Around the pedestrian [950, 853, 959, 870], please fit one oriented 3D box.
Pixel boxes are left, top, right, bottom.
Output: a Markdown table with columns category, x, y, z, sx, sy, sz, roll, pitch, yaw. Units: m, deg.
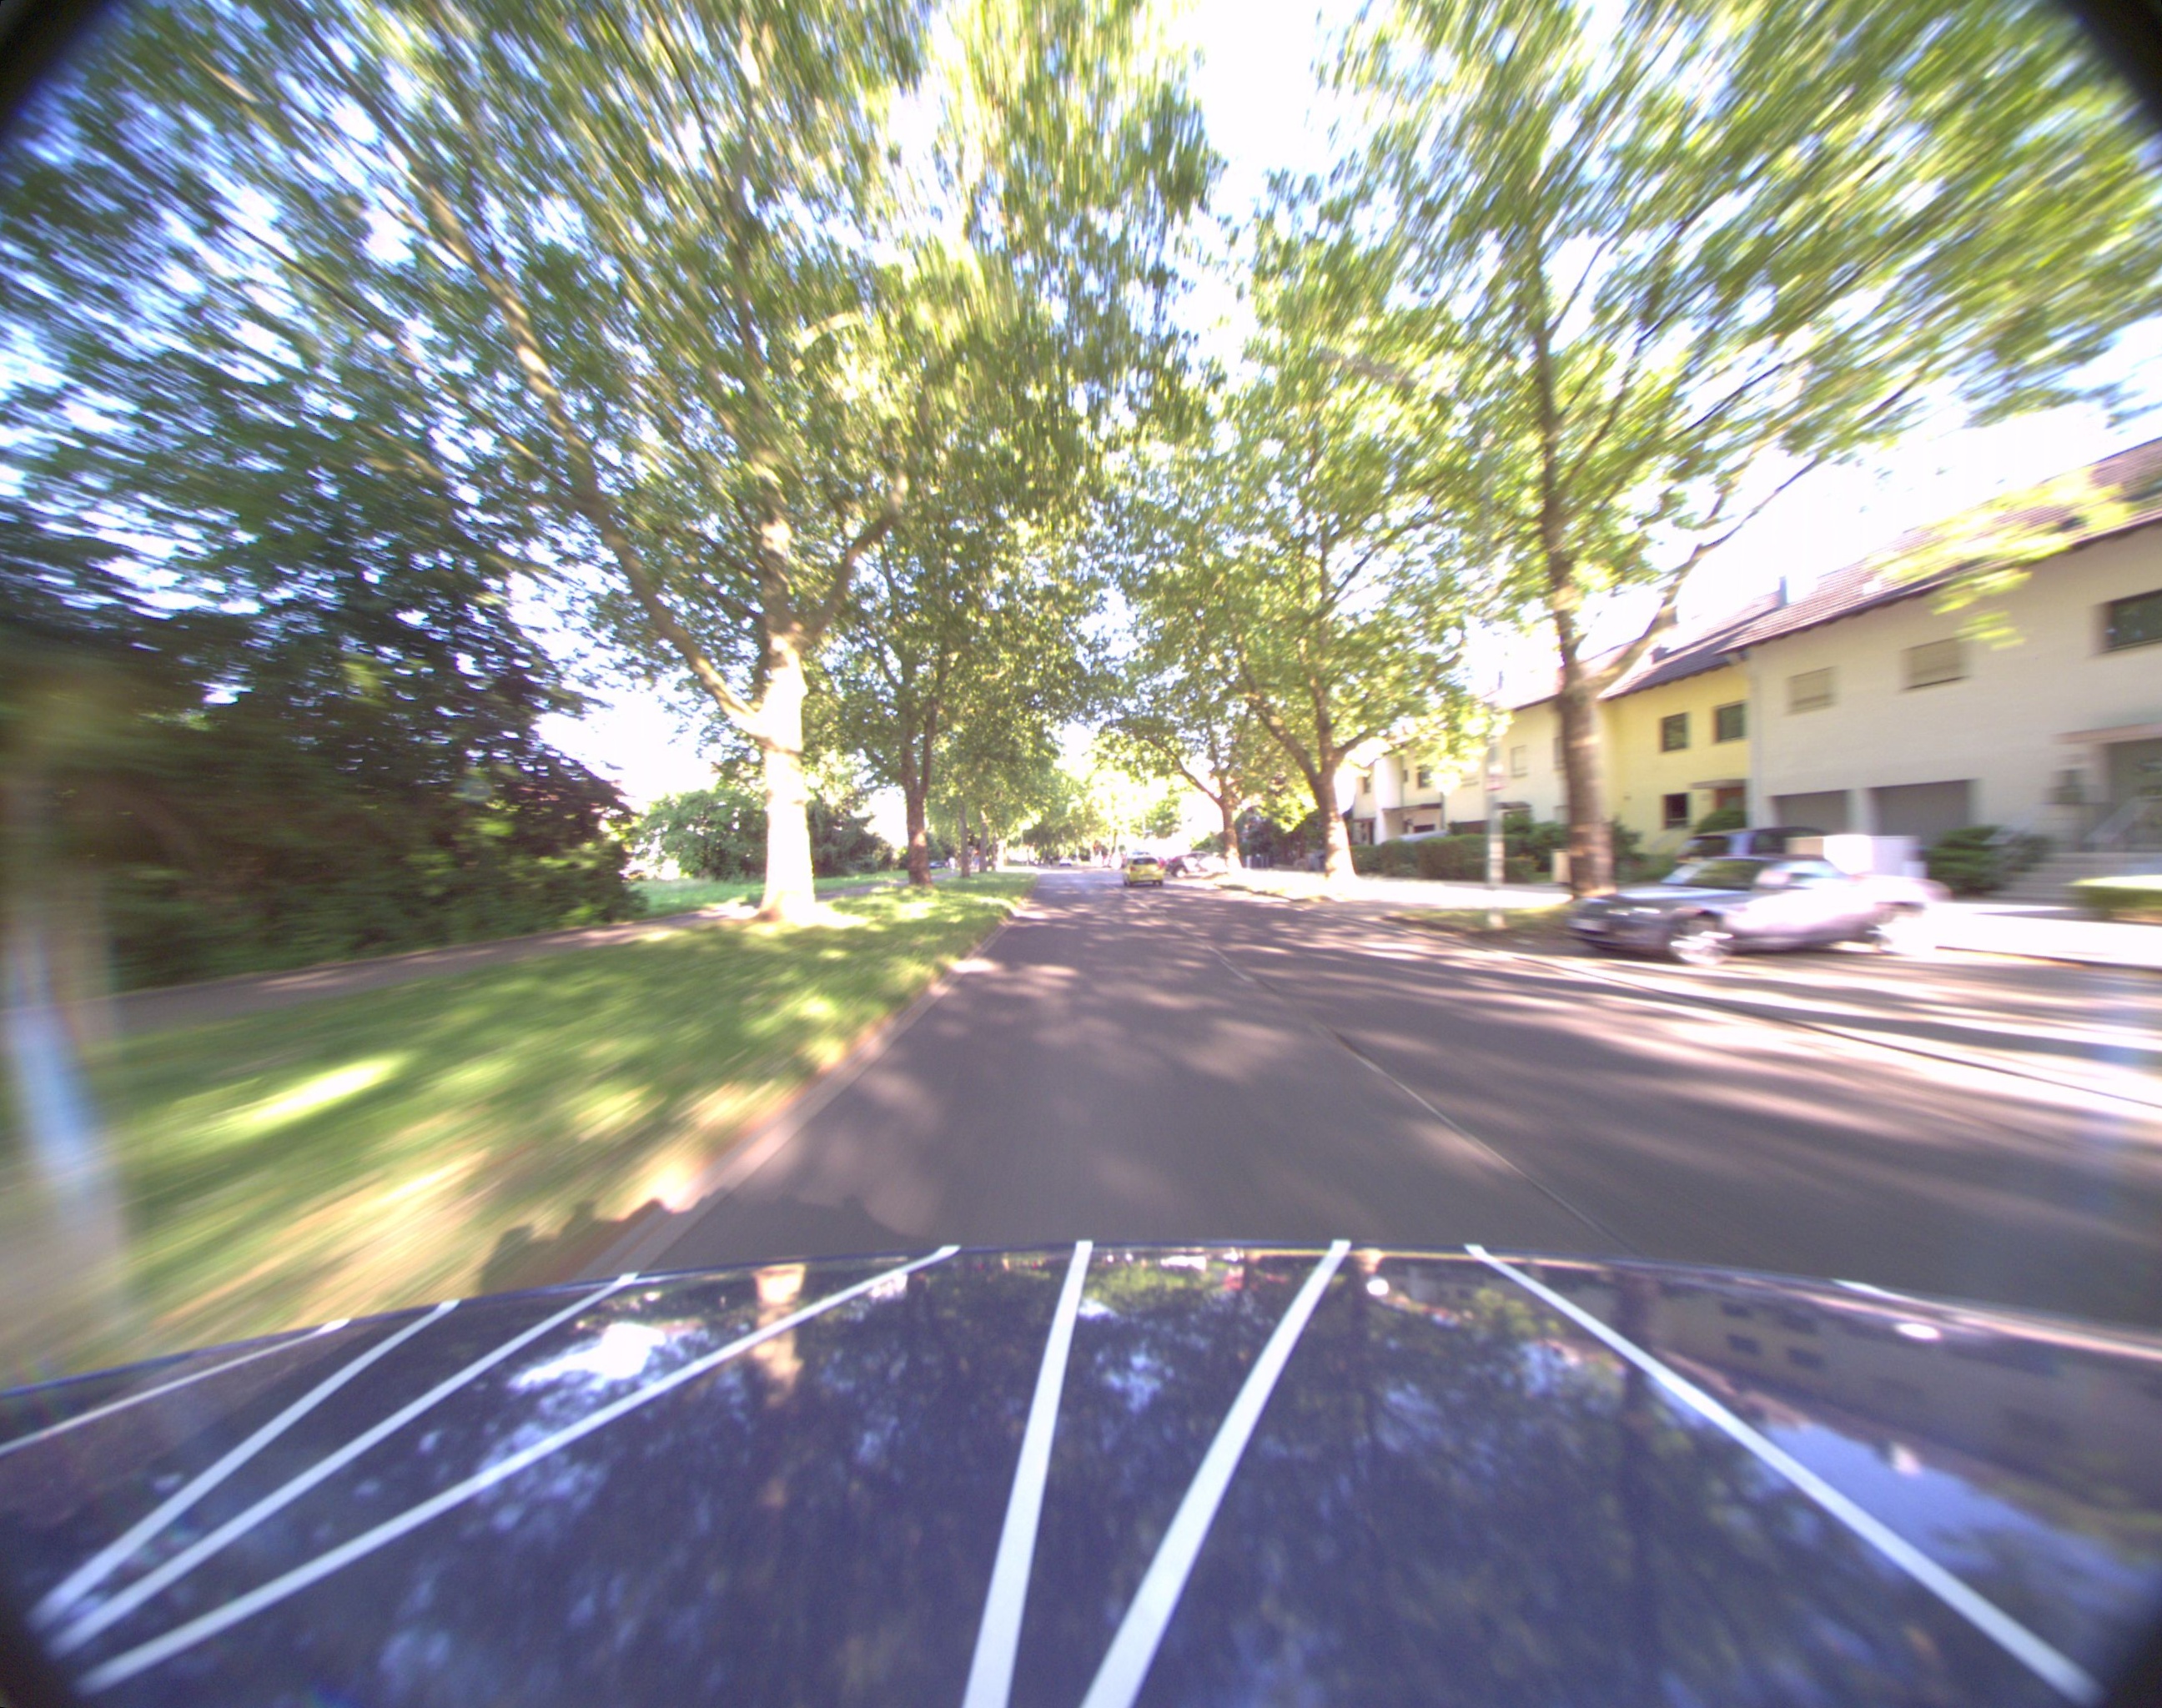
| category | x | y | z | sx | sy | sz | roll | pitch | yaw |
| --- | --- | --- | --- | --- | --- | --- | --- | --- | --- |
| pedestrian | -12.610 | 0.764 | 75.806 | 0.782 | 1.640 | 0.938 | -1 | 0 | -5 |

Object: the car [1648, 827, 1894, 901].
| category | x | y | z | sx | sy | sz | roll | pitch | yaw |
| --- | --- | --- | --- | --- | --- | --- | --- | --- | --- |
| car | 15.870 | 0.208 | 17.639 | 3.997 | 1.456 | 1.901 | -3 | 1 | 0 |

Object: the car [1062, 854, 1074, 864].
| category | x | y | z | sx | sy | sz | roll | pitch | yaw |
| --- | --- | --- | --- | --- | --- | --- | --- | --- | --- |
| car | -2.037 | 0.739 | 121.103 | 1.721 | 1.492 | 4.093 | -2 | 0 | 0 |

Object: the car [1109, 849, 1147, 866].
| category | x | y | z | sx | sy | sz | roll | pitch | yaw |
| --- | --- | --- | --- | --- | --- | --- | --- | --- | --- |
| car | 5.345 | 0.378 | 86.838 | 4.103 | 1.706 | 1.831 | -2 | 0 | -5 |

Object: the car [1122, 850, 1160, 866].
| category | x | y | z | sx | sy | sz | roll | pitch | yaw |
| --- | --- | --- | --- | --- | --- | --- | --- | --- | --- |
| car | 6.259 | 0.370 | 79.611 | 3.652 | 1.508 | 1.781 | -2 | 0 | -4 |

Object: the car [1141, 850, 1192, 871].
| category | x | y | z | sx | sy | sz | roll | pitch | yaw |
| --- | --- | --- | --- | --- | --- | --- | --- | --- | --- |
| car | 6.948 | 0.524 | 61.970 | 3.883 | 1.509 | 1.664 | -2 | 0 | -6 |

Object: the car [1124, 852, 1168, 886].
| category | x | y | z | sx | sy | sz | roll | pitch | yaw |
| --- | --- | --- | --- | --- | --- | --- | --- | --- | --- |
| car | 3.126 | 0.689 | 37.065 | 1.788 | 1.504 | 3.838 | -2 | 1 | 0 |

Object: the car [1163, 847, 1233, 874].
| category | x | y | z | sx | sy | sz | roll | pitch | yaw |
| --- | --- | --- | --- | --- | --- | --- | --- | --- | --- |
| car | 7.363 | 0.397 | 48.059 | 3.999 | 1.509 | 1.817 | -2 | 0 | -3 |

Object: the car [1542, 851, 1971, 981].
| category | x | y | z | sx | sy | sz | roll | pitch | yaw |
| --- | --- | --- | --- | --- | --- | --- | --- | --- | --- |
| car | 8.285 | 0.703 | 9.585 | 3.836 | 1.308 | 1.789 | -3 | 1 | -1 |

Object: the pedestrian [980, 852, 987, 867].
| category | x | y | z | sx | sy | sz | roll | pitch | yaw |
| --- | --- | --- | --- | --- | --- | --- | --- | --- | --- |
| pedestrian | -11.917 | 0.652 | 93.083 | 0.763 | 1.835 | 0.787 | -1 | 0 | -1 |

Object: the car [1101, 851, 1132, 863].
| category | x | y | z | sx | sy | sz | roll | pitch | yaw |
| --- | --- | --- | --- | --- | --- | --- | --- | --- | --- |
| car | 4.733 | 0.387 | 101.883 | 3.776 | 1.526 | 1.830 | -2 | 1 | -7 |

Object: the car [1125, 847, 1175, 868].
| category | x | y | z | sx | sy | sz | roll | pitch | yaw |
| --- | --- | --- | --- | --- | --- | --- | --- | --- | --- |
| car | 6.519 | 0.296 | 72.151 | 4.399 | 1.814 | 1.994 | -2 | 1 | -6 |

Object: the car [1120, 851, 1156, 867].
| category | x | y | z | sx | sy | sz | roll | pitch | yaw |
| --- | --- | --- | --- | --- | --- | --- | --- | --- | --- |
| car | 6.184 | 0.507 | 82.022 | 3.523 | 1.508 | 1.725 | -3 | 0 | -9 |

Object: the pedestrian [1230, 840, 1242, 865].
| category | x | y | z | sx | sy | sz | roll | pitch | yaw |
| --- | --- | --- | --- | --- | --- | --- | --- | --- | --- |
| pedestrian | 10.825 | -0.128 | 53.080 | 0.618 | 1.706 | 1.065 | -2 | 1 | -1 |

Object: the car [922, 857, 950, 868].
| category | x | y | z | sx | sy | sz | roll | pitch | yaw |
| --- | --- | --- | --- | --- | --- | --- | --- | --- | --- |
| car | -22.066 | 1.281 | 115.958 | 4.068 | 1.455 | 1.730 | -1 | 1 | -9 |

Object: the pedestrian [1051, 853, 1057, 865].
| category | x | y | z | sx | sy | sz | roll | pitch | yaw |
| --- | --- | --- | --- | --- | --- | --- | --- | --- | --- |
| pedestrian | -3.817 | 0.691 | 106.268 | 0.637 | 1.709 | 0.825 | 1 | 0 | -13 |

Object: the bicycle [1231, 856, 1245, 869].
| category | x | y | z | sx | sy | sz | roll | pitch | yaw |
| --- | --- | --- | --- | --- | --- | --- | --- | --- | --- |
| bicycle | 10.920 | 0.605 | 52.988 | 0.471 | 0.875 | 2.155 | -2 | 0 | -1 |

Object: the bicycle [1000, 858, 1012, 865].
| category | x | y | z | sx | sy | sz | roll | pitch | yaw |
| --- | --- | --- | --- | --- | --- | --- | --- | --- | --- |
| bicycle | -10.499 | 1.066 | 106.328 | 1.715 | 1.028 | 0.447 | -1 | -2 | 30 |

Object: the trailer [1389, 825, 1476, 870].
| category | x | y | z | sx | sy | sz | roll | pitch | yaw |
| --- | --- | --- | --- | --- | --- | --- | --- | --- | --- |
| trailer | 17.571 | -0.301 | 38.096 | 3.462 | 1.914 | 1.643 | -6 | -1 | -3 |

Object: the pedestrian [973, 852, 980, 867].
| category | x | y | z | sx | sy | sz | roll | pitch | yaw |
| --- | --- | --- | --- | --- | --- | --- | --- | --- | --- |
| pedestrian | -12.802 | 0.677 | 93.002 | 0.756 | 1.836 | 0.802 | -1 | 0 | -1 |

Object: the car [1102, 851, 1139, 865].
| category | x | y | z | sx | sy | sz | roll | pitch | yaw |
| --- | --- | --- | --- | --- | --- | --- | --- | --- | --- |
| car | 4.800 | 0.470 | 91.951 | 4.174 | 1.492 | 1.874 | -2 | 0 | -7 |
